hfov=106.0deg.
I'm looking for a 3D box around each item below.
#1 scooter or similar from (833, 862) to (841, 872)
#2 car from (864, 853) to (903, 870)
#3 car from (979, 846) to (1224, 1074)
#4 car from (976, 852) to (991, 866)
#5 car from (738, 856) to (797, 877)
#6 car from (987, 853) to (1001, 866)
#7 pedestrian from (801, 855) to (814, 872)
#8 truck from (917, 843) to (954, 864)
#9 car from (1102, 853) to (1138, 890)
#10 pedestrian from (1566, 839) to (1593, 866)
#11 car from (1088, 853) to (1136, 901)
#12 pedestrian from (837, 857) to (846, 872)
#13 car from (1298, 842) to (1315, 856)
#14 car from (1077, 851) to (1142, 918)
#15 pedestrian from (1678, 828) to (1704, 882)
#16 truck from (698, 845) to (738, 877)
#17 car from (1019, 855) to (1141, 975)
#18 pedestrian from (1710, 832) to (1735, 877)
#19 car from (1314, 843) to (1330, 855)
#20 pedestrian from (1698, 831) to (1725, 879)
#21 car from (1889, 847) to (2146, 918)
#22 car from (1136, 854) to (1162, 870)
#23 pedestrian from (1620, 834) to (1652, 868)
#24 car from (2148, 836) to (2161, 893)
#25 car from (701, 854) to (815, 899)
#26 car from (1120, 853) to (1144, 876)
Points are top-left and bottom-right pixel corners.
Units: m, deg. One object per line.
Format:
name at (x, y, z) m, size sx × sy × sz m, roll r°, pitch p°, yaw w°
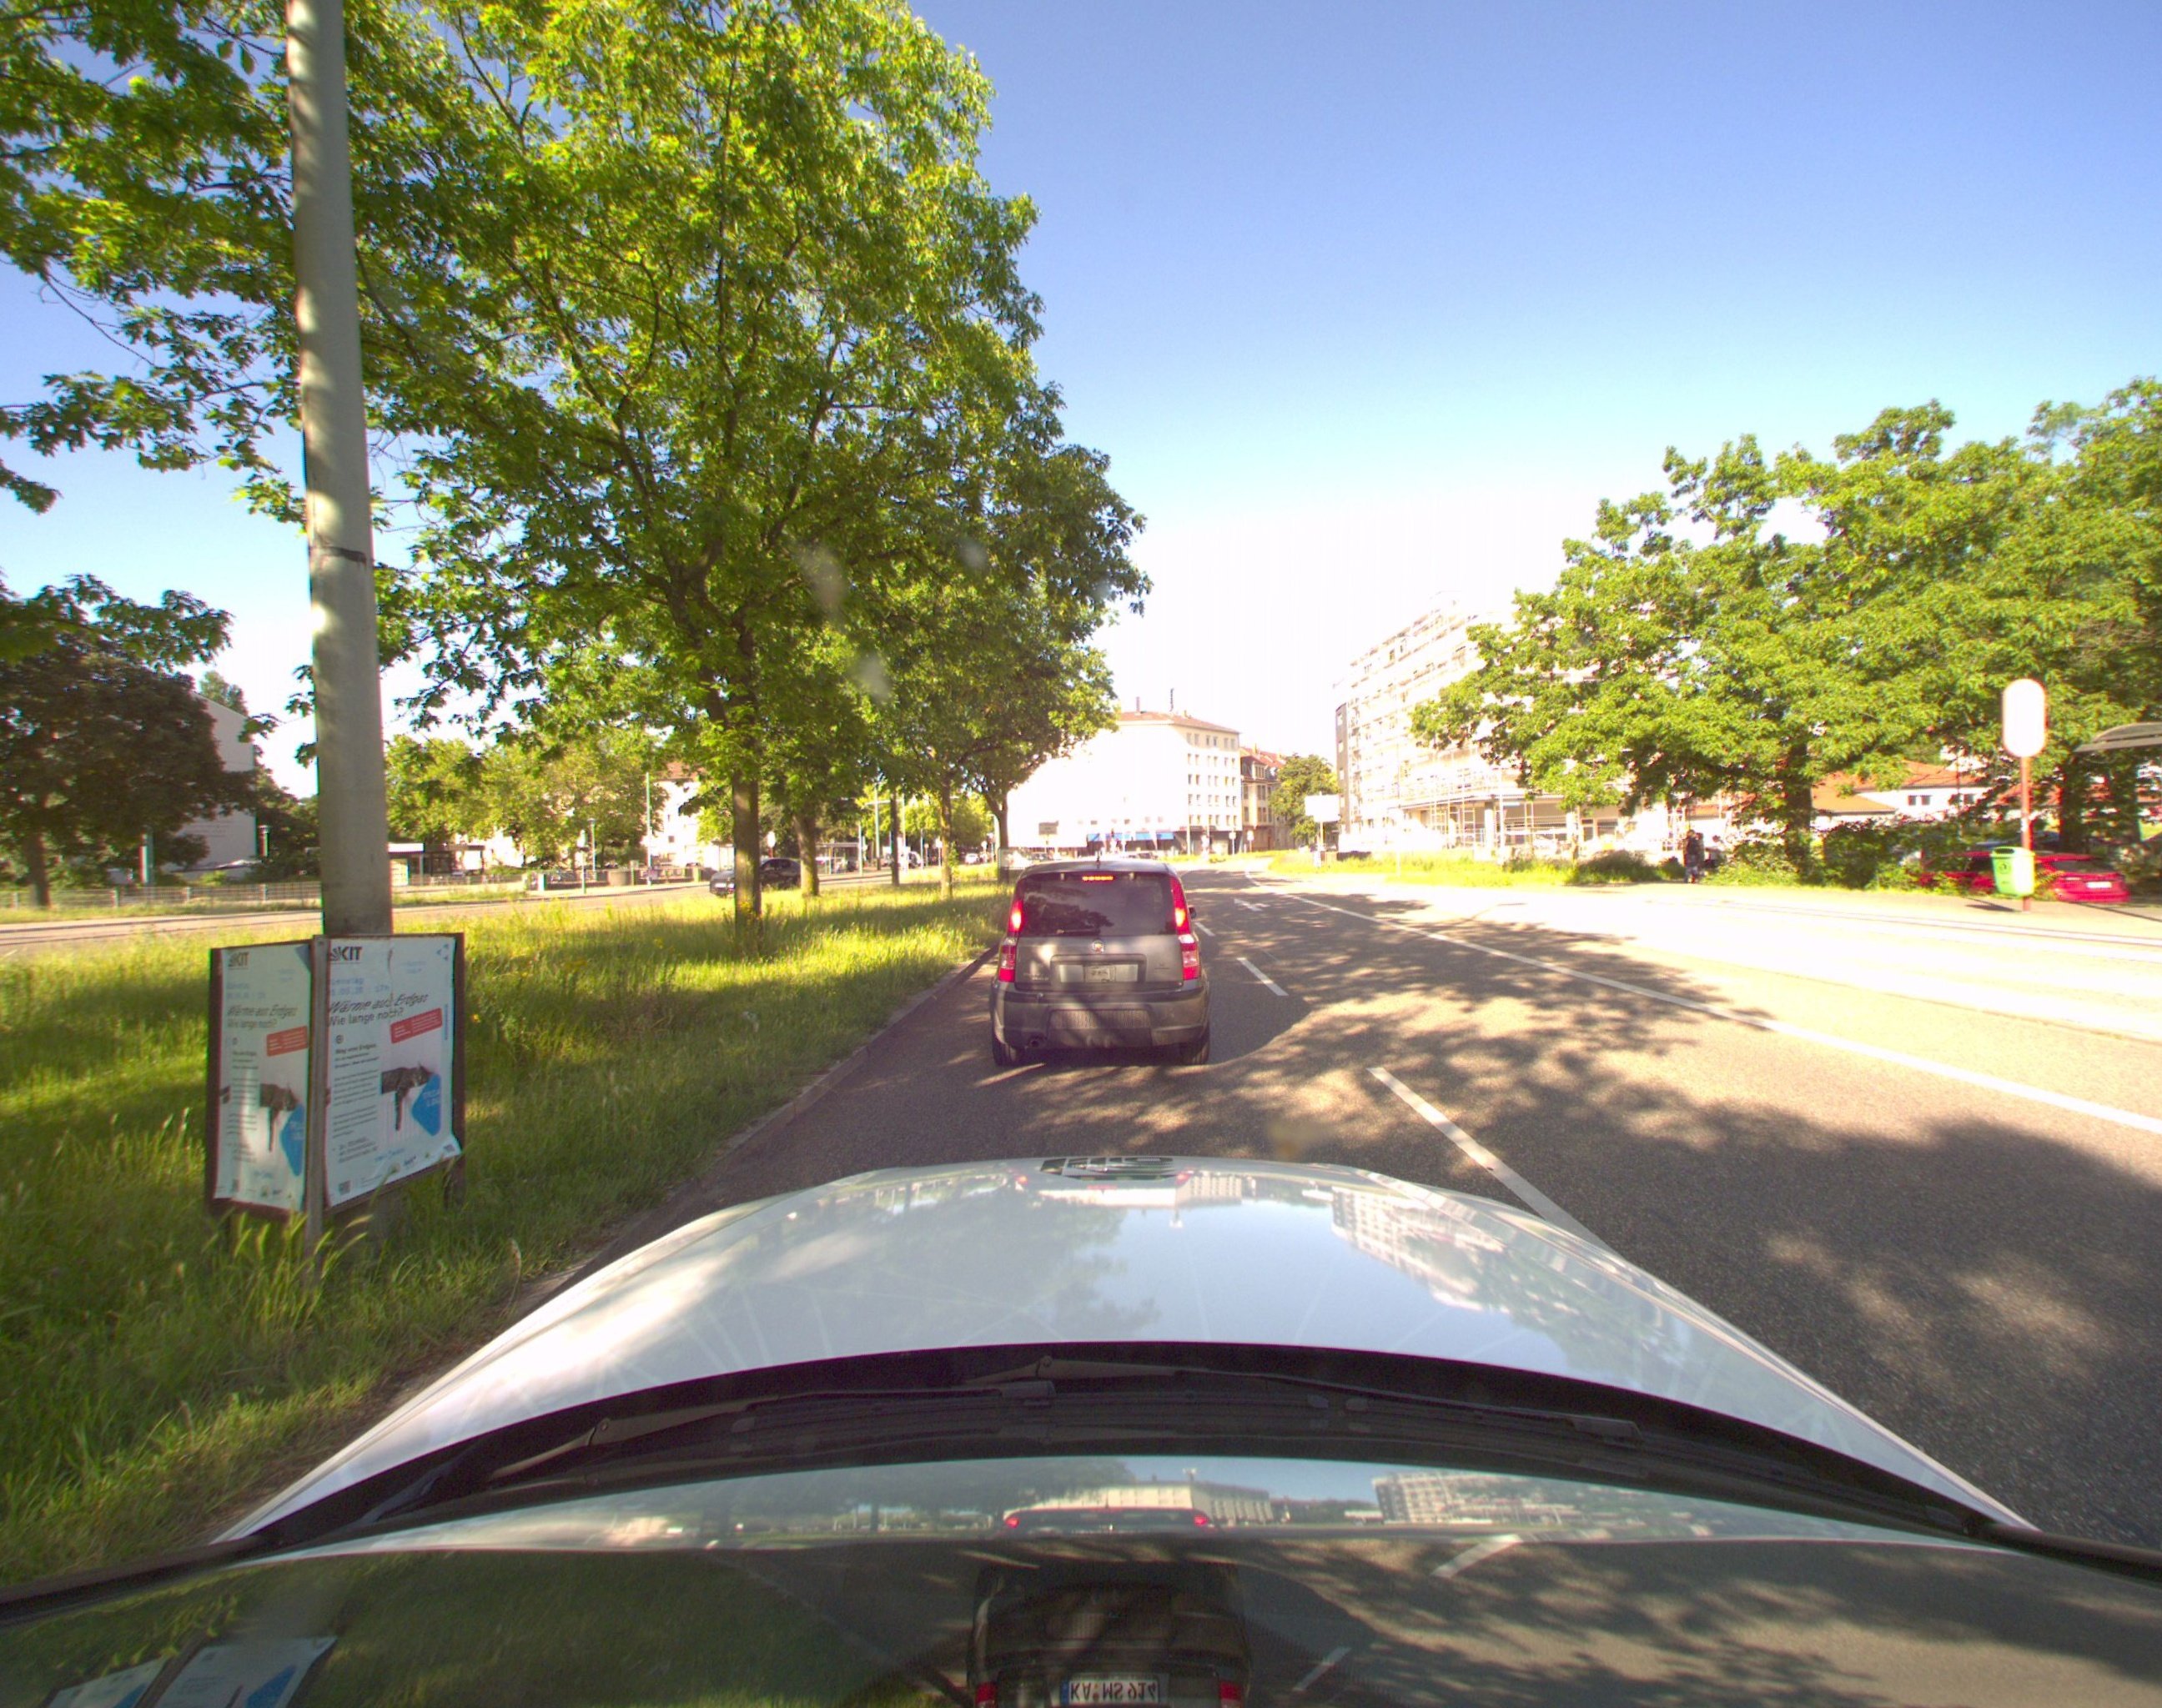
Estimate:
scooter or similar at (-22.444, 1.186, 74.817) m, size 0.416 × 0.927 × 0.537 m, roll -2°, pitch 0°, yaw 28°
car at (-23.951, 0.896, 98.942) m, size 4.164 × 2.013 × 1.931 m, roll -2°, pitch 0°, yaw -1°
car at (0.204, 0.708, 7.534) m, size 1.622 × 1.508 × 4.002 m, roll -2°, pitch 0°, yaw 2°
car at (-14.849, 0.712, 124.158) m, size 1.988 × 2.013 × 3.997 m, roll -2°, pitch 0°, yaw -2°
car at (-27.323, 1.075, 71.065) m, size 1.974 × 1.684 × 4.348 m, roll -2°, pitch 0°, yaw 40°
car at (-14.268, 0.896, 133.869) m, size 1.988 × 2.013 × 3.997 m, roll -2°, pitch 0°, yaw -2°
pedestrian at (-26.352, 0.945, 78.457) m, size 0.910 × 1.607 × 0.802 m, roll -2°, pitch 0°, yaw 41°
truck at (-23.015, -0.138, 128.569) m, size 5.425 × 3.168 × 2.358 m, roll -2°, pitch 0°, yaw 30°
car at (1.599, 0.696, 33.966) m, size 1.351 × 1.449 × 3.267 m, roll -2°, pitch 0°, yaw 2°
pedestrian at (27.439, -0.092, 44.821) m, size 0.897 × 1.447 × 0.957 m, roll -2°, pitch 0°, yaw -29°
car at (1.027, 0.731, 27.397) m, size 1.458 × 1.424 × 3.383 m, roll -2°, pitch 1°, yaw 2°
pedestrian at (-22.183, 0.954, 75.331) m, size 0.411 × 1.391 × 0.630 m, roll -2°, pitch 0°, yaw 28°
car at (24.909, -0.538, 89.997) m, size 1.669 × 1.449 × 3.588 m, roll -2°, pitch 0°, yaw 18°
car at (0.723, 0.702, 20.767) m, size 1.458 × 1.508 × 3.506 m, roll -2°, pitch 0°, yaw 2°
pedestrian at (18.523, 0.016, 24.725) m, size 0.516 × 1.612 × 0.595 m, roll -2°, pitch 0°, yaw 28°
truck at (-33.080, 0.638, 74.201) m, size 2.012 × 2.805 × 3.951 m, roll -2°, pitch 0°, yaw -44°
car at (0.046, 0.752, 11.711) m, size 1.458 × 1.401 × 3.395 m, roll -2°, pitch 0°, yaw 2°
pedestrian at (20.896, 0.016, 26.548) m, size 0.516 × 1.447 × 0.595 m, roll -2°, pitch 0°, yaw 28°
car at (27.621, -0.590, 93.427) m, size 1.514 × 1.314 × 3.304 m, roll -2°, pitch 0°, yaw 20°
pedestrian at (19.175, 0.024, 24.768) m, size 0.516 × 1.447 × 0.595 m, roll -2°, pitch 0°, yaw 28°
car at (21.985, 0.600, 19.375) m, size 1.747 × 1.486 × 3.743 m, roll -2°, pitch 0°, yaw -2°
car at (4.862, 0.577, 57.716) m, size 1.133 × 1.064 × 2.735 m, roll -2°, pitch 0°, yaw 19°
pedestrian at (27.907, -0.154, 40.939) m, size 0.893 × 1.653 × 0.979 m, roll -2°, pitch 0°, yaw -26°
car at (29.861, 0.252, 20.179) m, size 1.911 × 1.486 × 3.725 m, roll -2°, pitch 0°, yaw -17°
car at (-13.405, 0.897, 34.082) m, size 1.811 × 1.647 × 4.484 m, roll -2°, pitch 0°, yaw 21°
car at (3.092, 0.623, 49.677) m, size 1.351 × 1.281 × 2.877 m, roll -2°, pitch 0°, yaw 2°
